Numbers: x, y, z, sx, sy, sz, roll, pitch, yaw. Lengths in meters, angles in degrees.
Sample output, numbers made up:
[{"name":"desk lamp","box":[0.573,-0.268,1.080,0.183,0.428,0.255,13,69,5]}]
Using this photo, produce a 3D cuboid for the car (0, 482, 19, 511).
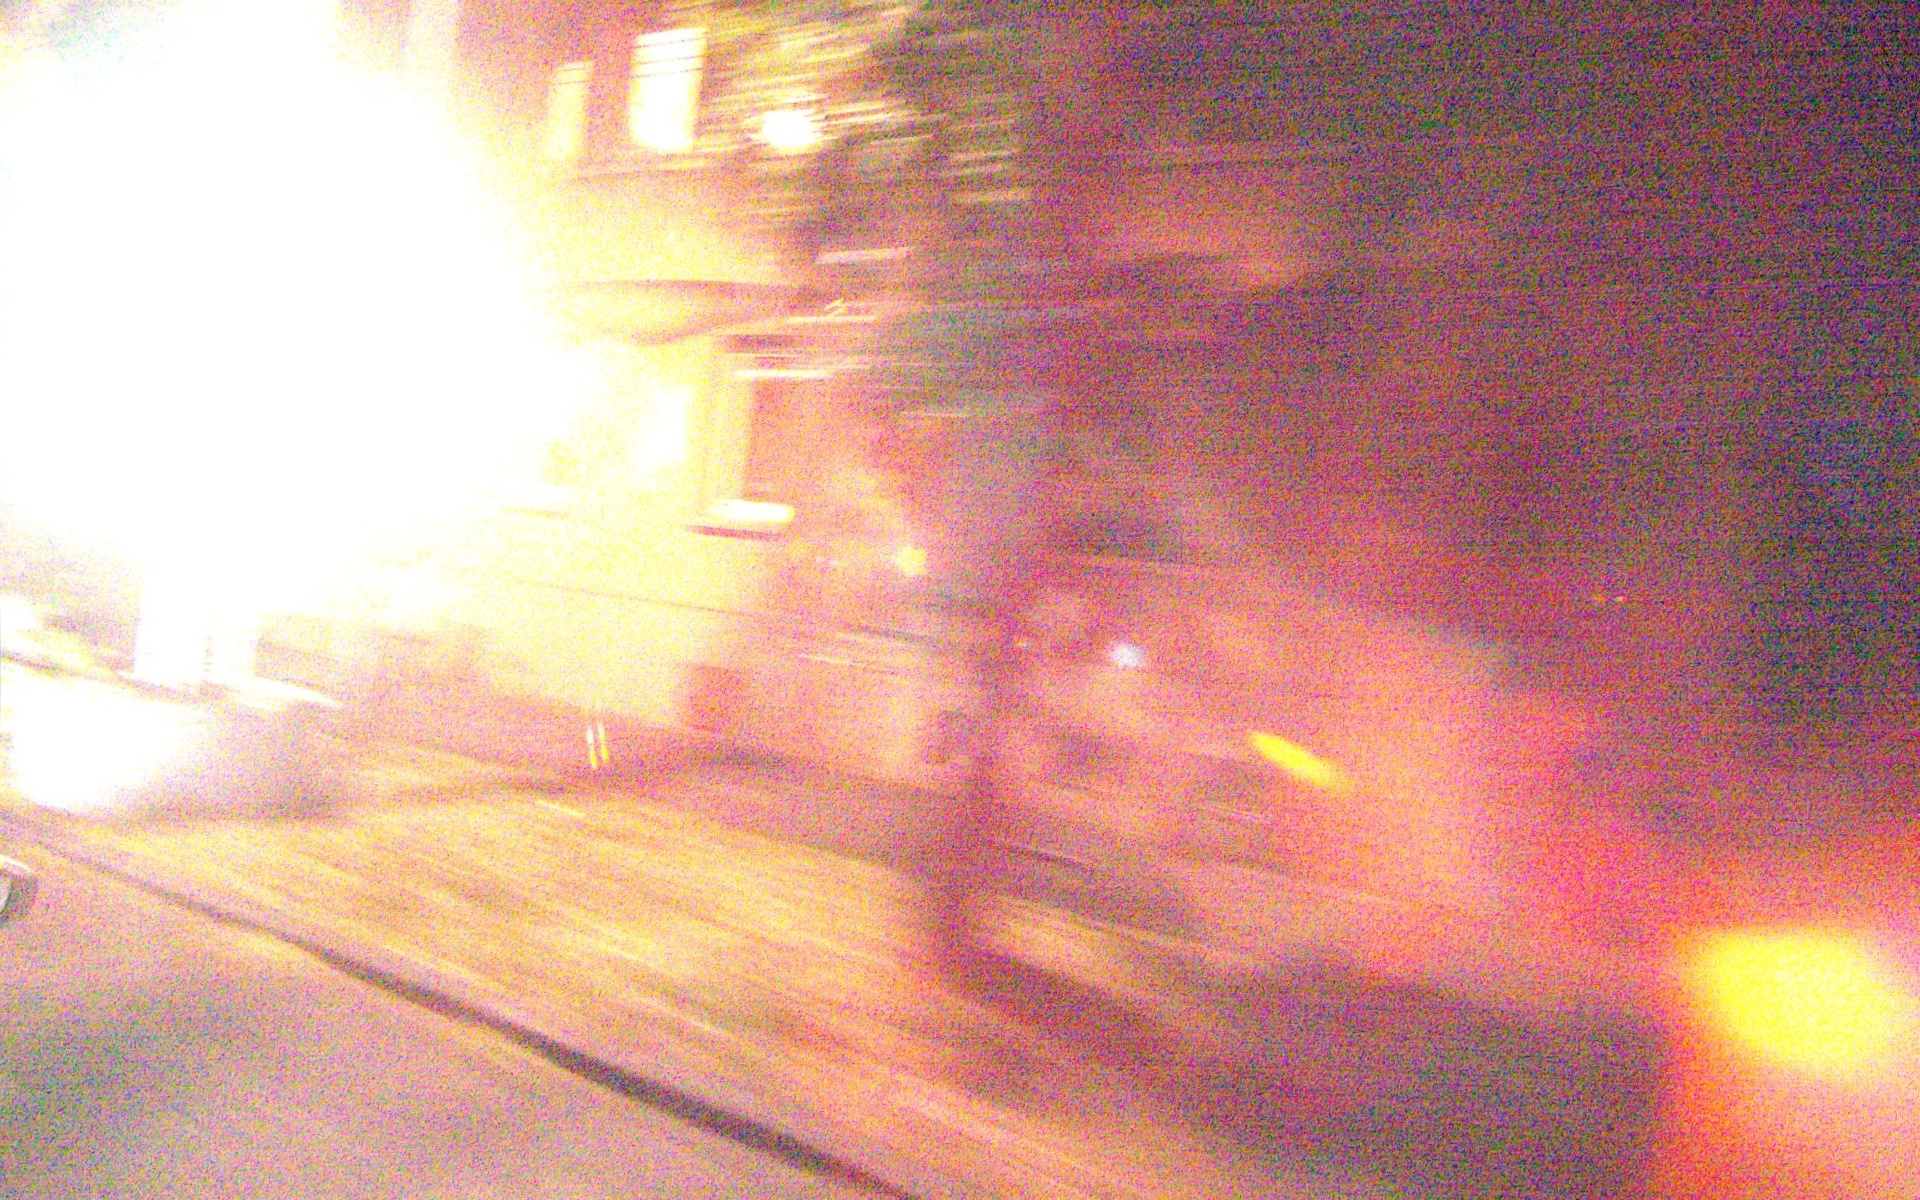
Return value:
[{"name":"car","box":[-55.863,-6.126,58.192,4.664,1.477,1.731,7,-1,43]}]

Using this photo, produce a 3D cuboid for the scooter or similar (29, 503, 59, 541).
[{"name":"scooter or similar","box":[-29.444,-2.514,32.334,0.419,1.144,1.479,7,1,-35]}]
